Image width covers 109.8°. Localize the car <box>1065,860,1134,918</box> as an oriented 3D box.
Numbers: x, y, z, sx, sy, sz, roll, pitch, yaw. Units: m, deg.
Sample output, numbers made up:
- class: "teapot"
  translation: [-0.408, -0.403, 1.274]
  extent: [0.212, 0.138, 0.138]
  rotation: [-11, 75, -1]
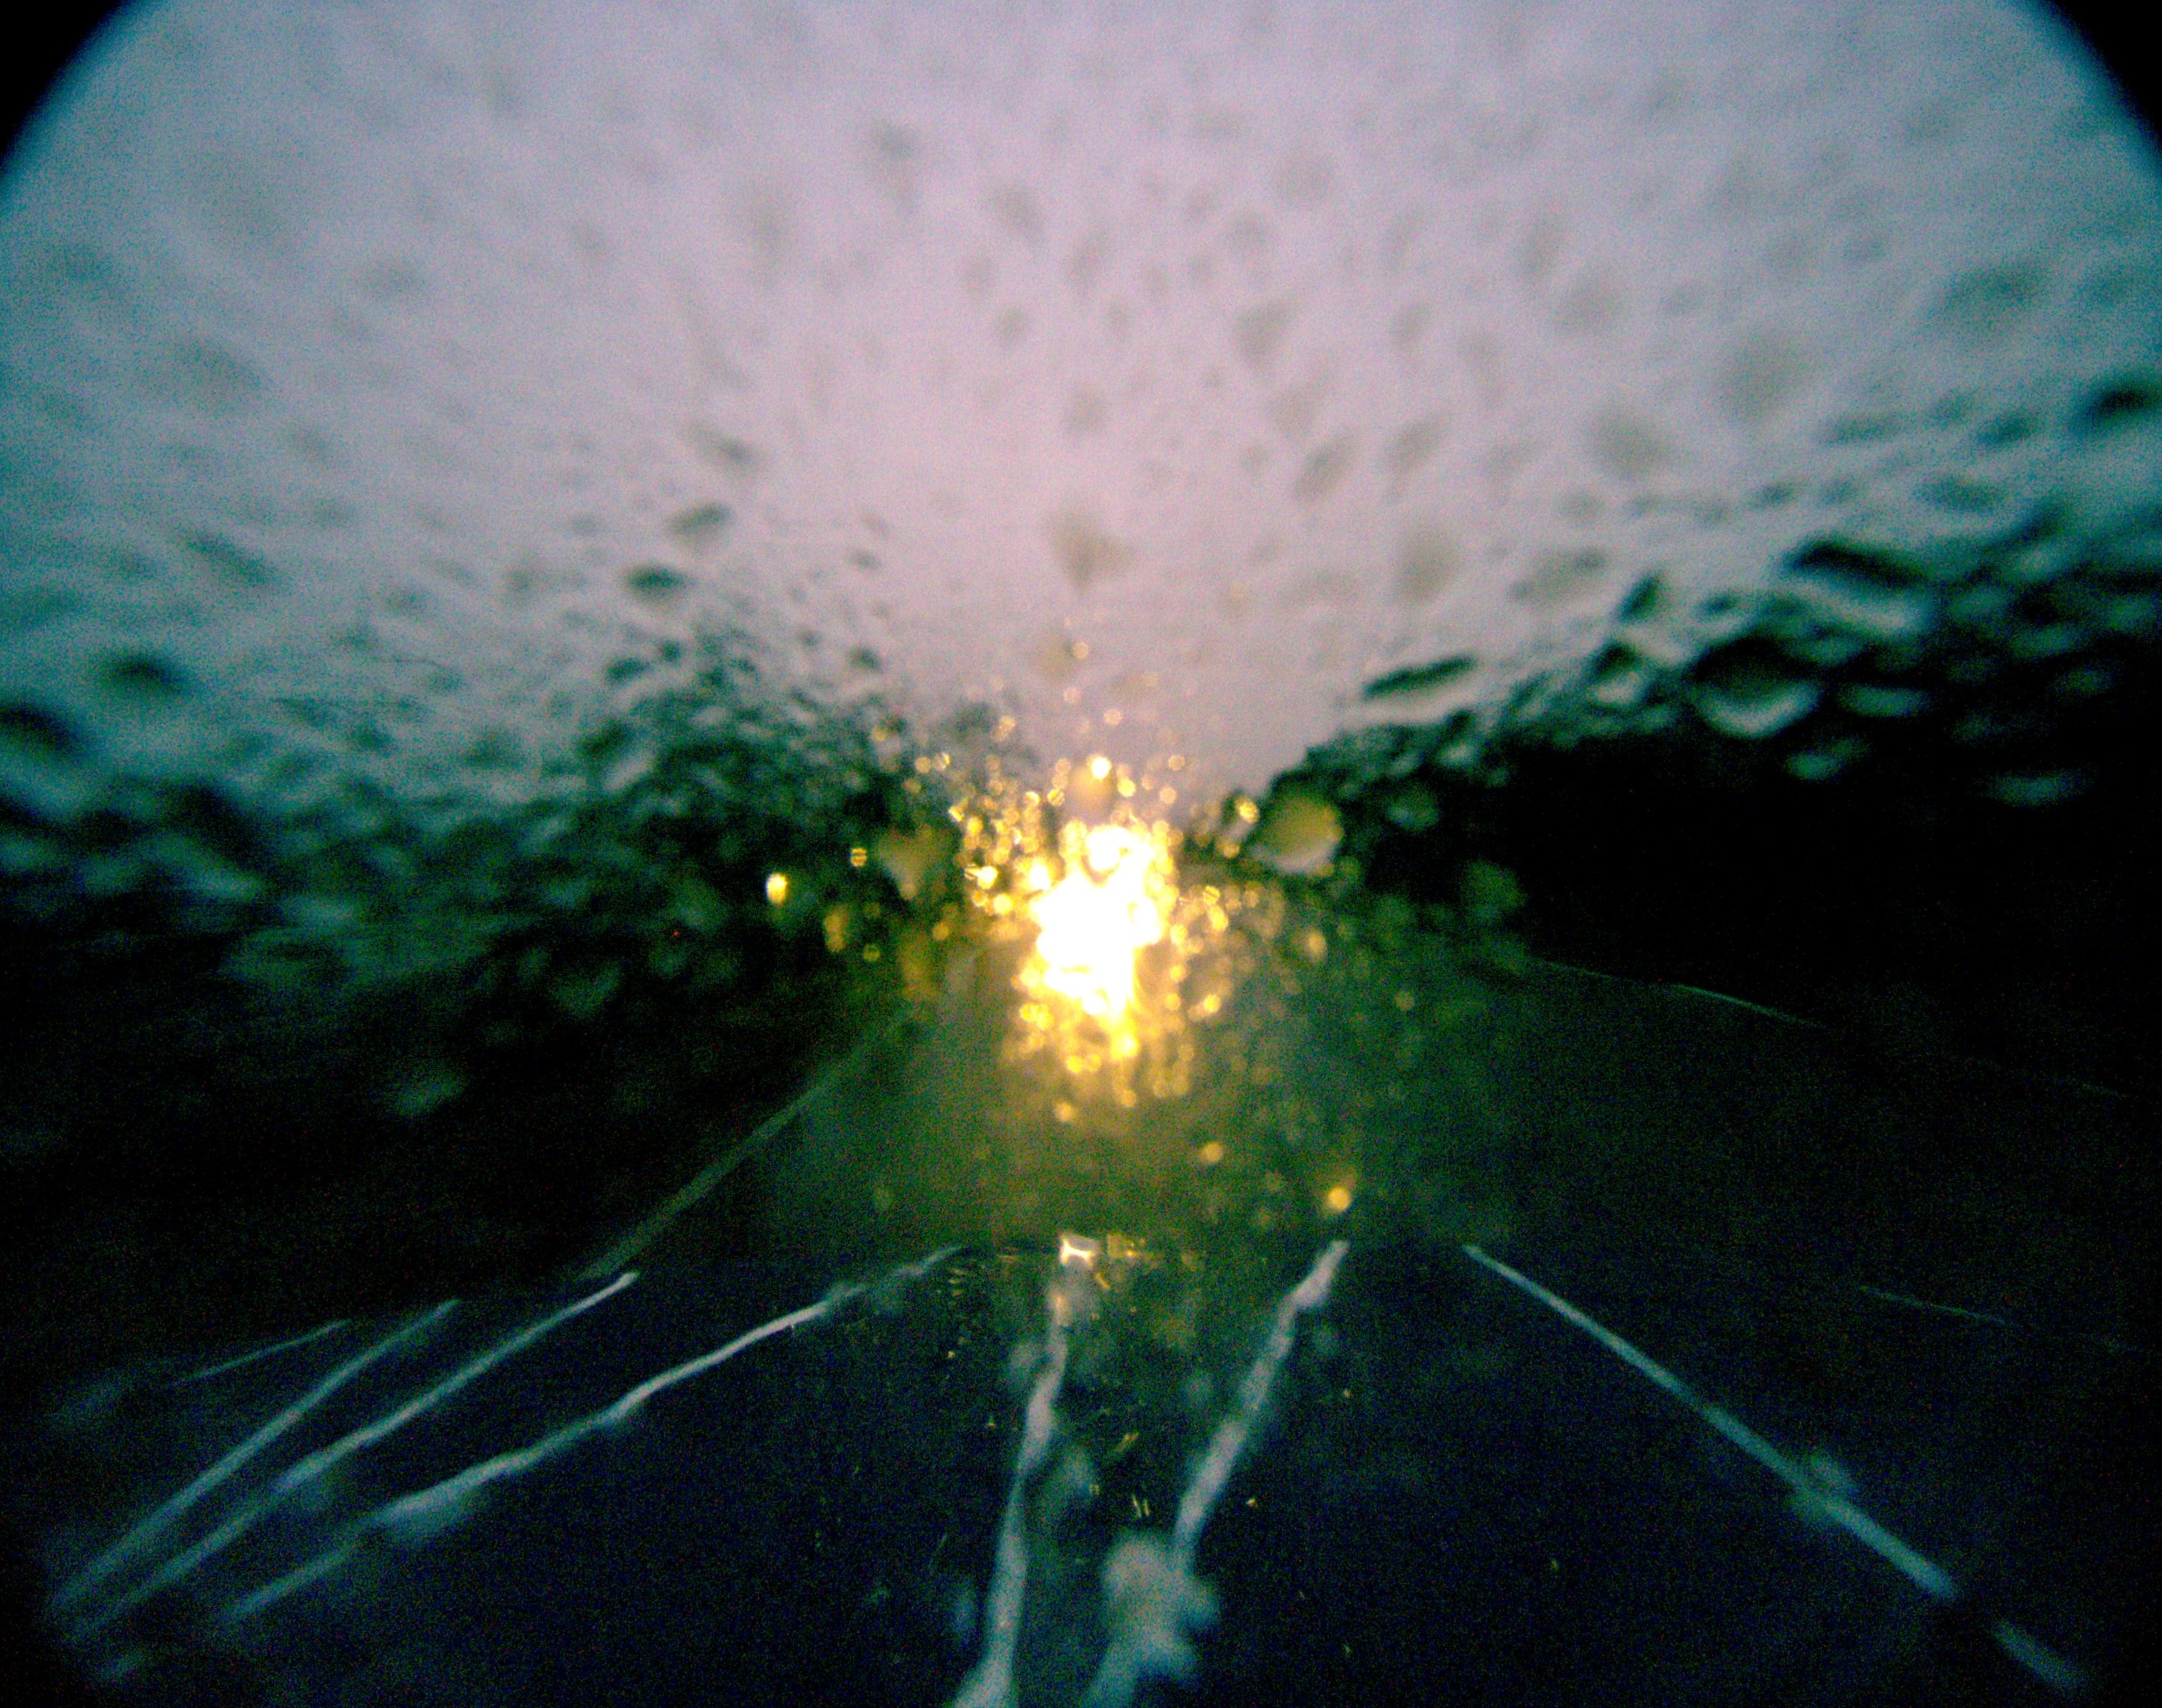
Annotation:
- class: "car"
  translation: [0.657, 1.075, 24.965]
  extent: [1.998, 1.601, 4.000]
  rotation: [-3, 1, 3]
